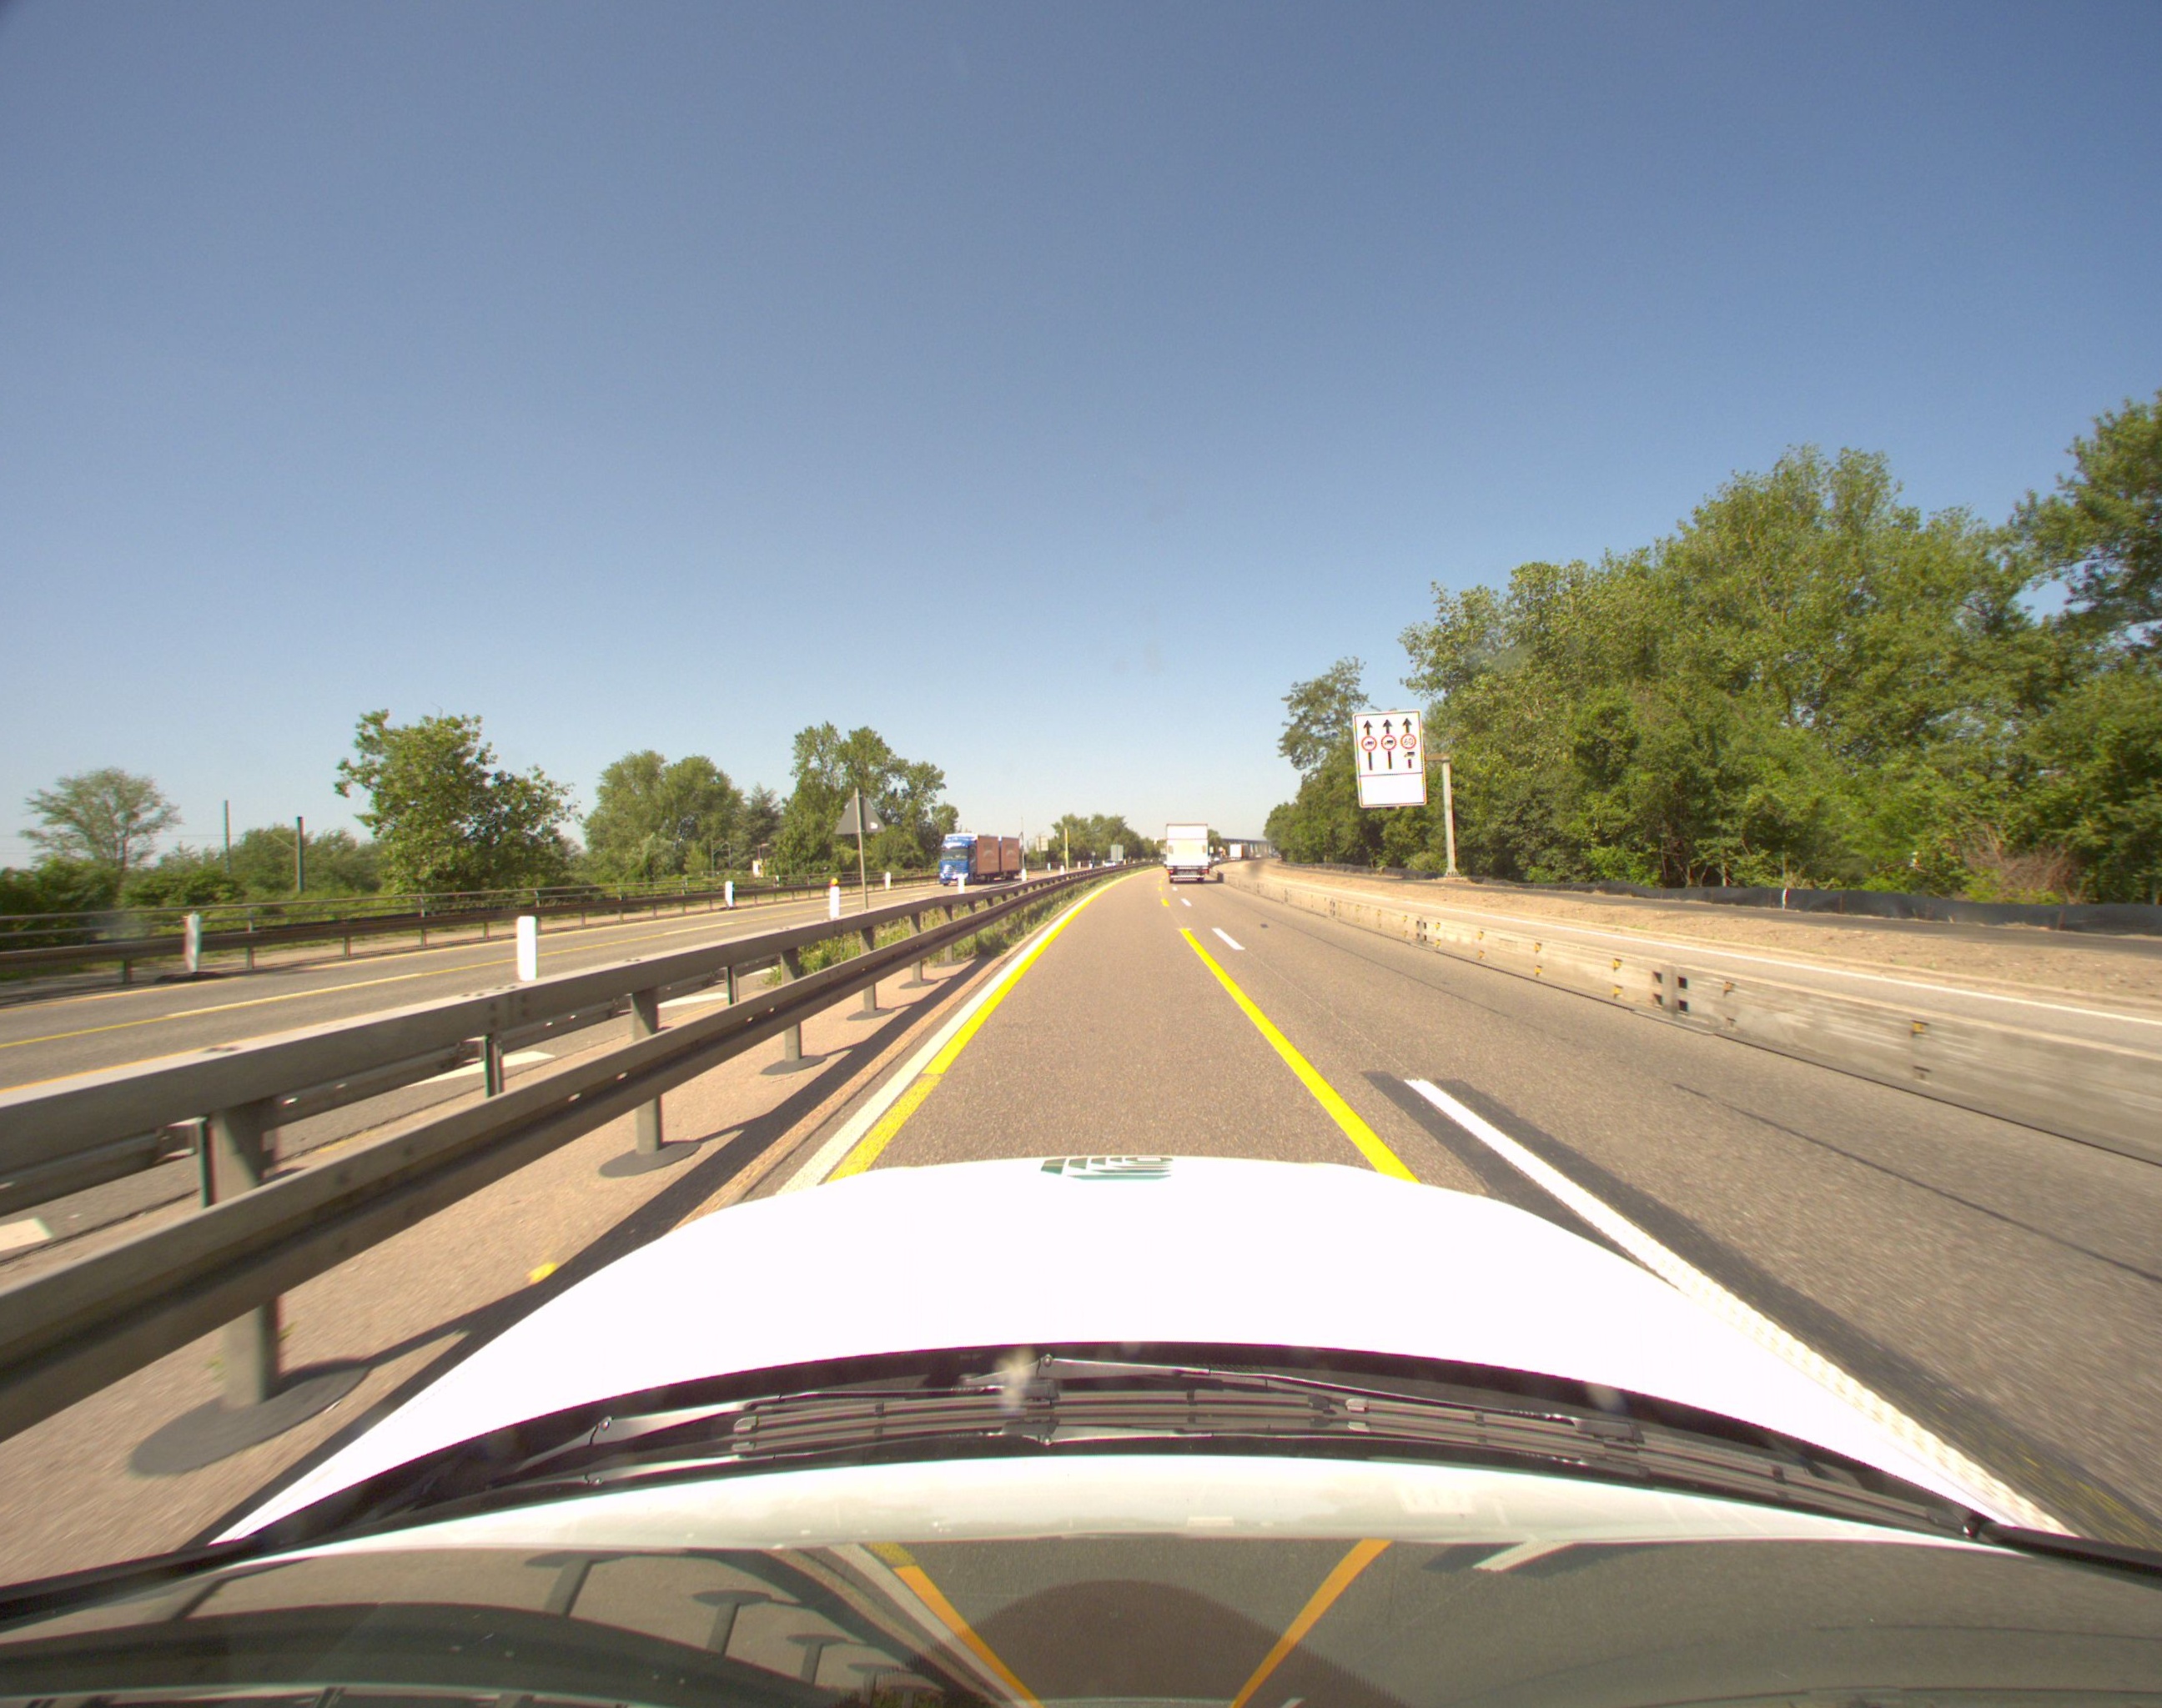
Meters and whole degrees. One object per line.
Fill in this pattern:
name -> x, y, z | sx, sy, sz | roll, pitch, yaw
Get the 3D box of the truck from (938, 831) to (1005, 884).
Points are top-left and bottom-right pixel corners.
truck -> -8.938, 0.254, 67.896 | 3.022, 4.091, 10.642 | -1, 0, 6

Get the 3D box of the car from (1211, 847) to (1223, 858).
car -> 26.781, -0.289, 160.131 | 1.980, 2.013, 4.014 | -4, 0, 12

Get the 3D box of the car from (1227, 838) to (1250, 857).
car -> 38.329, -1.557, 198.123 | 4.175, 4.251, 10.709 | -4, 0, 17

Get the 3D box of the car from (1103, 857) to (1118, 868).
car -> 4.777, 1.379, 131.118 | 1.898, 1.651, 4.387 | -3, 0, 9

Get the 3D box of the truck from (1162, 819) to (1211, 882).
truck -> 6.278, -0.198, 48.645 | 2.620, 3.427, 7.247 | 0, 0, 7

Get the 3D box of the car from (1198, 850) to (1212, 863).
car -> 20.995, 0.365, 138.014 | 1.979, 2.013, 4.015 | -4, 0, 13

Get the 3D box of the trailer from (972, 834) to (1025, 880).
trailer -> -7.807, 0.228, 78.192 | 3.022, 4.091, 9.805 | -1, 0, 6
